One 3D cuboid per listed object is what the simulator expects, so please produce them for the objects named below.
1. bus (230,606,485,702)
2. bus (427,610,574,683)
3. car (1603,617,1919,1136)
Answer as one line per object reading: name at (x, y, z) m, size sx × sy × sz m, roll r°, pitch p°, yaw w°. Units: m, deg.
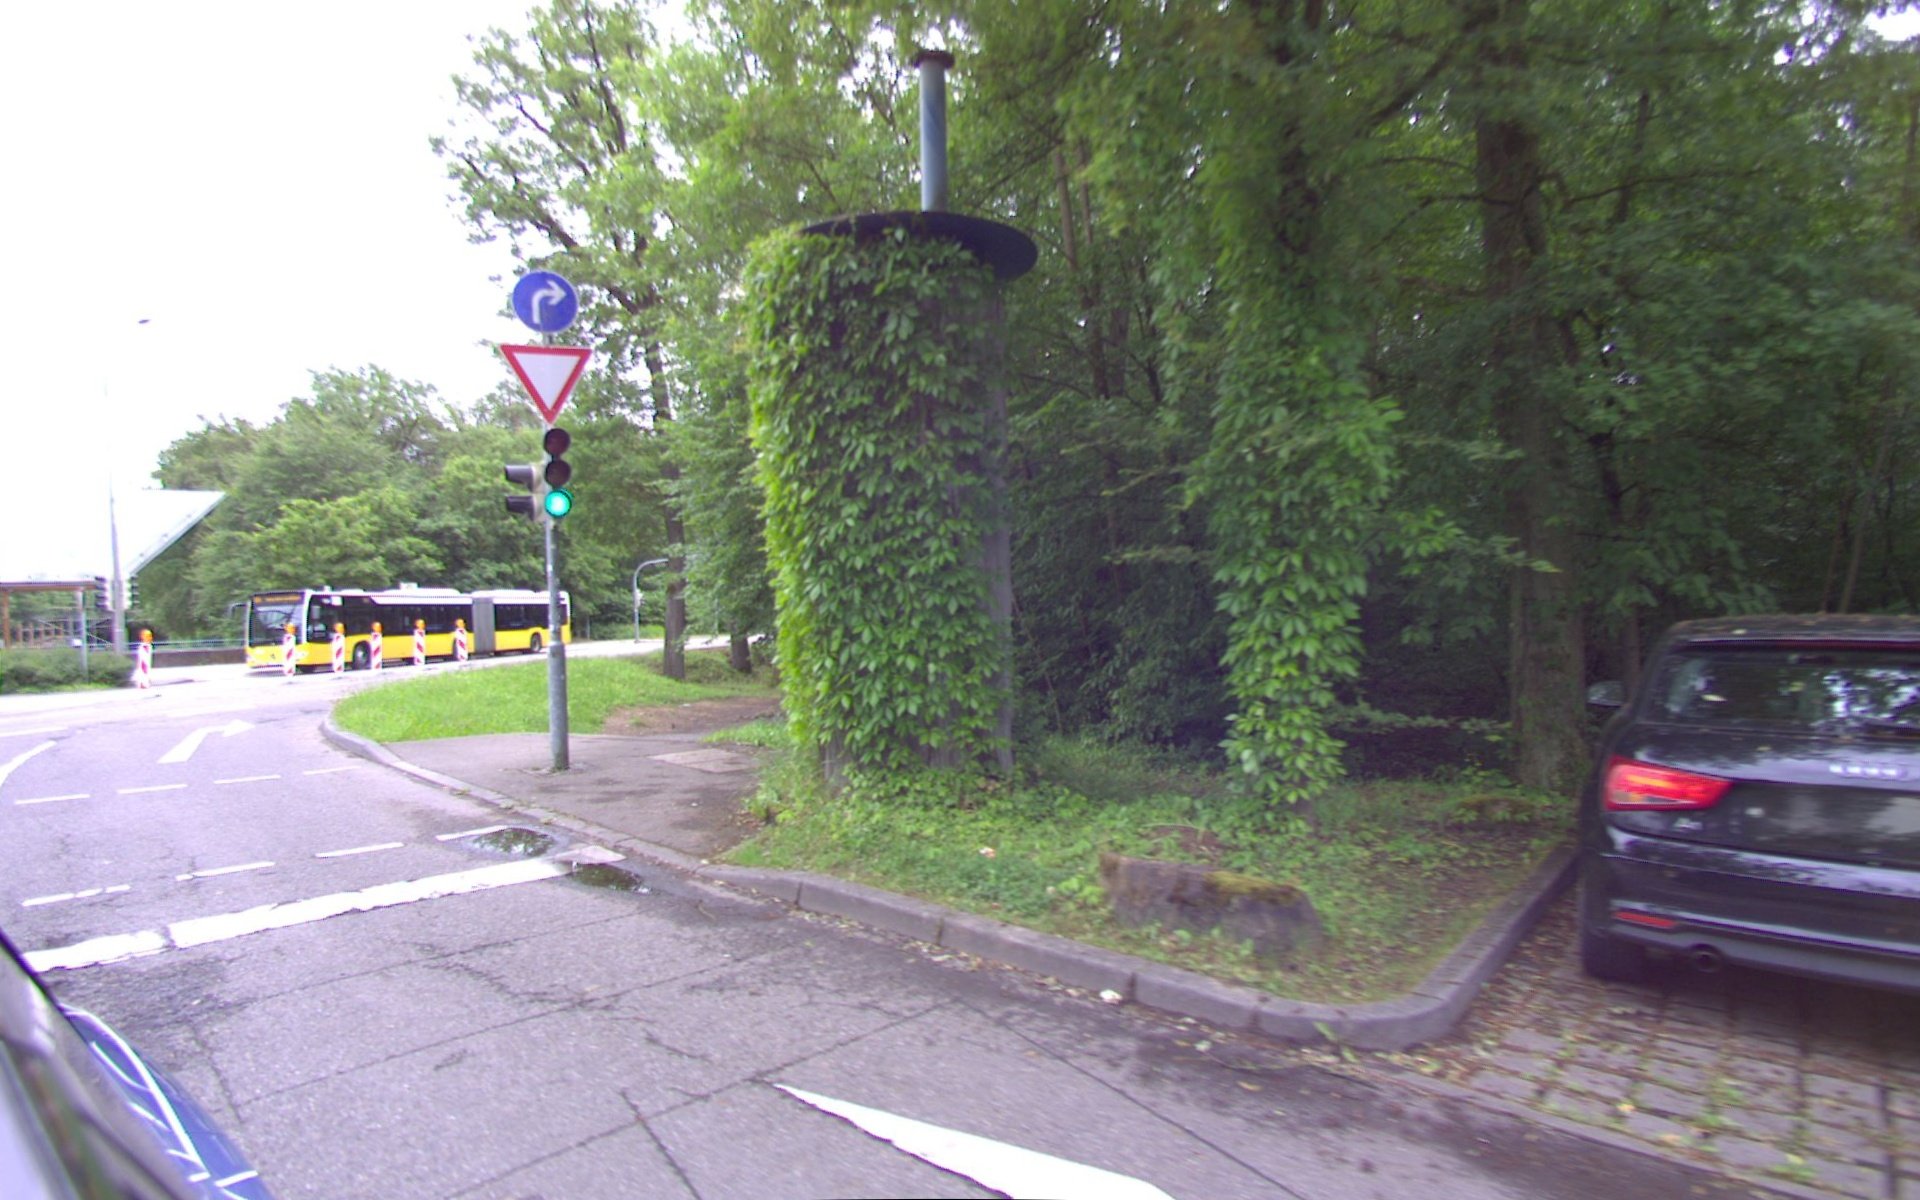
bus at (-23.488, 1.944, 40.514) m, size 2.779 × 3.183 × 10.492 m, roll -3°, pitch -1°, yaw 8°
bus at (-22.227, 2.144, 49.534) m, size 2.779 × 3.183 × 7.737 m, roll -3°, pitch -1°, yaw 8°
car at (4.066, 0.822, 4.386) m, size 1.720 × 1.389 × 3.948 m, roll -2°, pitch -1°, yaw 39°
